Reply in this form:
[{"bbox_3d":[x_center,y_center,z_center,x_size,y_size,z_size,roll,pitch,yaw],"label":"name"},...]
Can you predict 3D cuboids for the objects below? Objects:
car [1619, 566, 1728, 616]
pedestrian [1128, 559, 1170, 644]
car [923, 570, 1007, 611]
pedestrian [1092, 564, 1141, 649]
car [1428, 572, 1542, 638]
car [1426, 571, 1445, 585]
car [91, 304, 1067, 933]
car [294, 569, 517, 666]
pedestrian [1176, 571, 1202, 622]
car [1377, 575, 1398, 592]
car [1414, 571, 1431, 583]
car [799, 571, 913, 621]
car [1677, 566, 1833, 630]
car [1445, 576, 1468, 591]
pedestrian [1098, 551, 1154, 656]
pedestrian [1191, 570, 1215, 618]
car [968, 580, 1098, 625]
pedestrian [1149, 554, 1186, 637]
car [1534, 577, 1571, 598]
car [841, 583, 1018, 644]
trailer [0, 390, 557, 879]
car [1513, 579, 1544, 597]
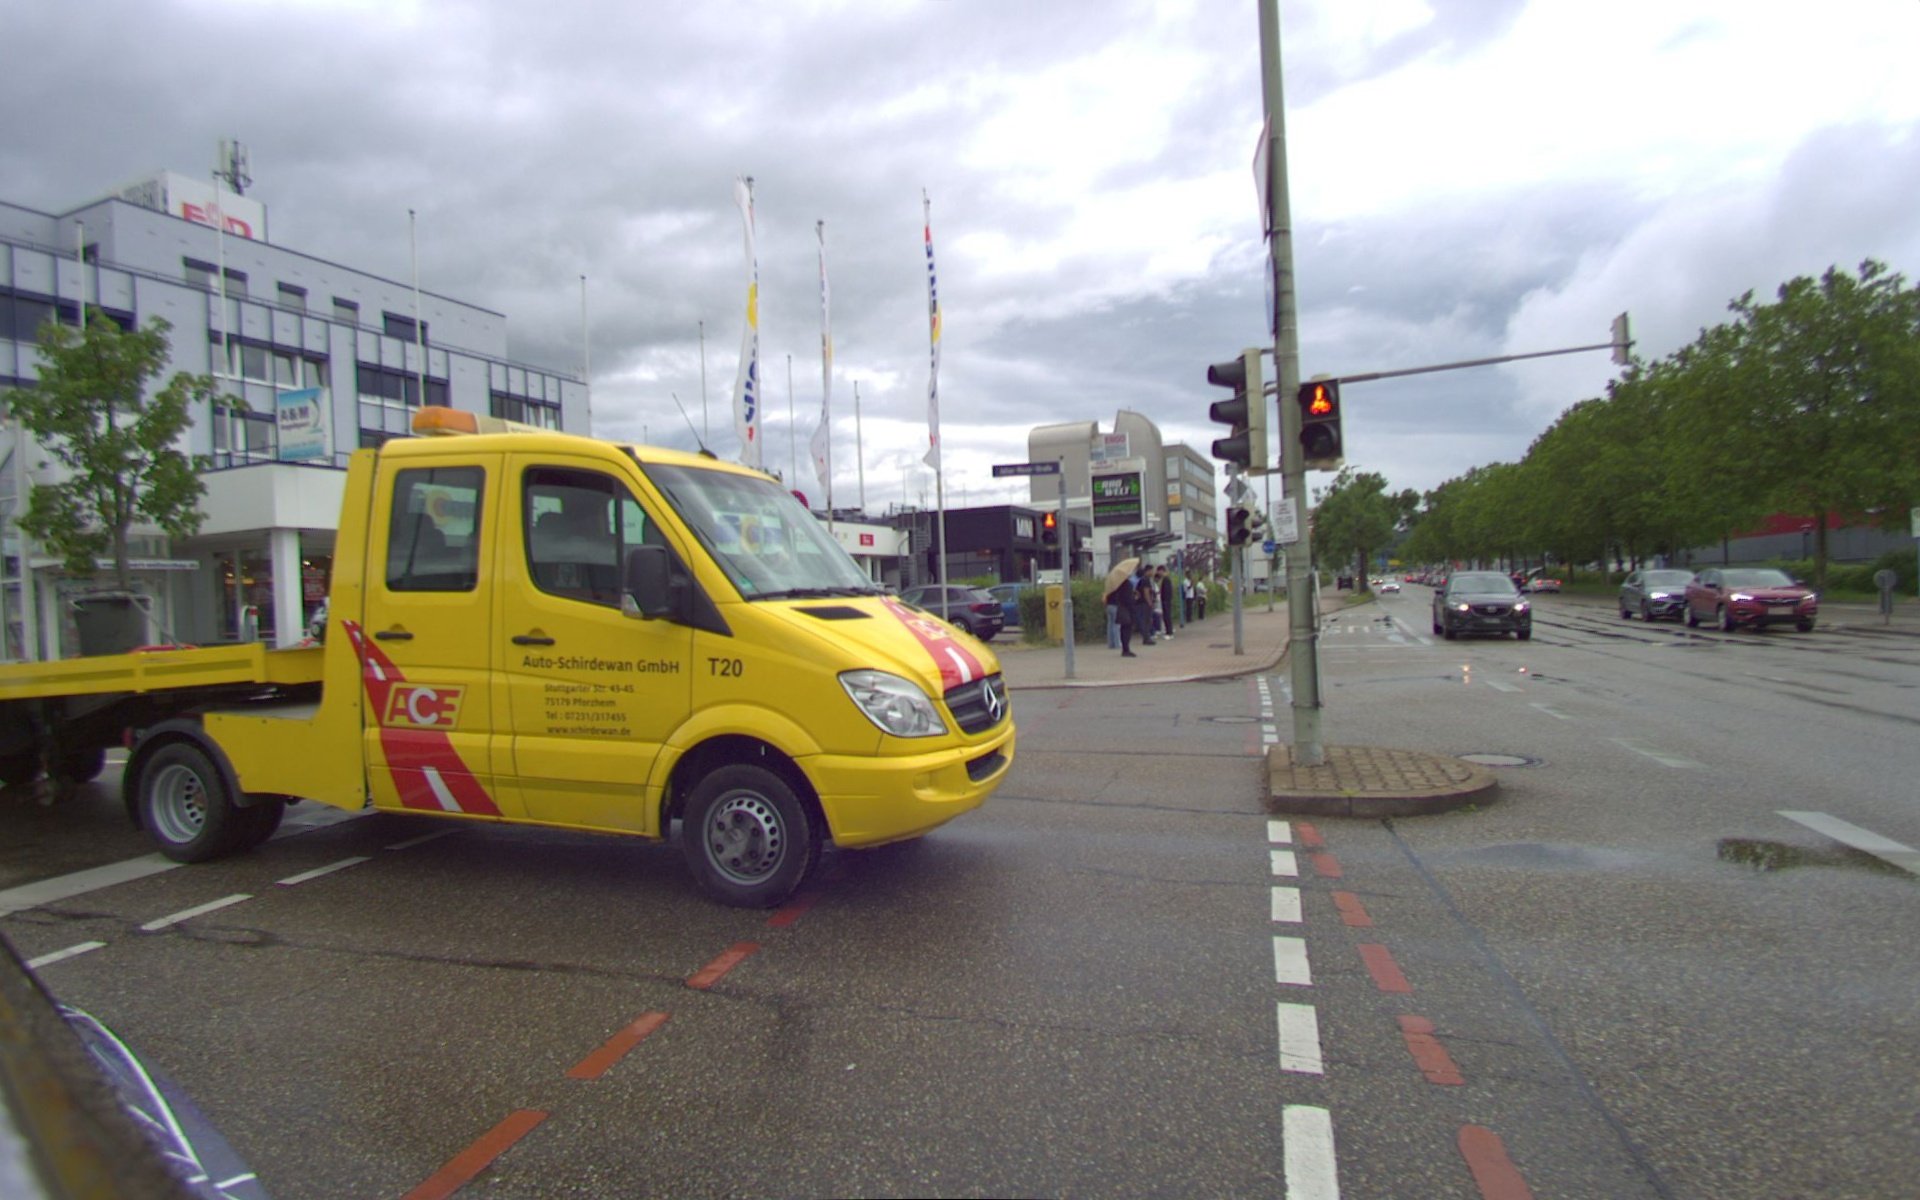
[{"bbox_3d":[21.876,-0.298,31.176,1.684,1.407,3.681,-2,1,18],"label":"car"},{"bbox_3d":[4.293,0.025,22.968,0.811,1.870,0.692,0,2,24],"label":"pedestrian"},{"bbox_3d":[0.260,-0.502,53.223,3.979,2.029,1.894,-2,0,26],"label":"car"},{"bbox_3d":[3.392,0.120,21.979,0.802,1.788,0.699,-1,2,-20],"label":"pedestrian"},{"bbox_3d":[12.961,0.103,25.200,1.740,1.475,3.979,-1,0,17],"label":"car"},{"bbox_3d":[59.948,-2.756,127.588,1.830,1.600,3.973,-1,0,20],"label":"car"},{"bbox_3d":[-2.072,0.124,5.860,4.974,2.492,2.233,-2,0,18],"label":"car"},{"bbox_3d":[-12.591,0.411,22.955,4.759,2.029,1.984,-2,0,25],"label":"car"},{"bbox_3d":[7.765,-0.119,34.329,0.697,1.724,0.692,-1,0,24],"label":"pedestrian"},{"bbox_3d":[43.899,-1.686,103.977,1.609,1.741,3.655,-1,0,19],"label":"car"},{"bbox_3d":[65.824,-3.252,144.110,1.830,1.600,3.973,-1,0,20],"label":"car"},{"bbox_3d":[-4.339,-0.177,42.214,4.347,1.920,1.882,-2,0,23],"label":"car"},{"bbox_3d":[19.855,-0.071,25.492,1.704,1.475,3.979,0,1,16],"label":"car"},{"bbox_3d":[54.300,-1.786,110.666,1.830,1.600,3.973,-1,0,20],"label":"car"},{"bbox_3d":[3.272,0.058,19.991,0.802,2.029,0.699,-1,1,-20],"label":"pedestrian"},{"bbox_3d":[8.842,-0.219,36.820,0.710,1.724,0.692,-1,0,24],"label":"pedestrian"},{"bbox_3d":[2.526,0.081,35.143,4.100,1.404,1.885,-2,0,23],"label":"car"},{"bbox_3d":[5.150,-0.112,25.134,0.737,2.029,0.692,-1,0,22],"label":"pedestrian"},{"bbox_3d":[47.153,-0.995,80.574,1.830,1.600,3.973,-1,0,20],"label":"car"},{"bbox_3d":[-0.790,0.345,25.645,4.106,1.404,1.807,-2,0,27],"label":"car"},{"bbox_3d":[-7.043,0.264,7.505,7.906,2.492,2.297,-2,0,18],"label":"trailer"},{"bbox_3d":[52.274,-1.110,93.101,1.830,1.600,3.973,-1,0,20],"label":"car"}]
